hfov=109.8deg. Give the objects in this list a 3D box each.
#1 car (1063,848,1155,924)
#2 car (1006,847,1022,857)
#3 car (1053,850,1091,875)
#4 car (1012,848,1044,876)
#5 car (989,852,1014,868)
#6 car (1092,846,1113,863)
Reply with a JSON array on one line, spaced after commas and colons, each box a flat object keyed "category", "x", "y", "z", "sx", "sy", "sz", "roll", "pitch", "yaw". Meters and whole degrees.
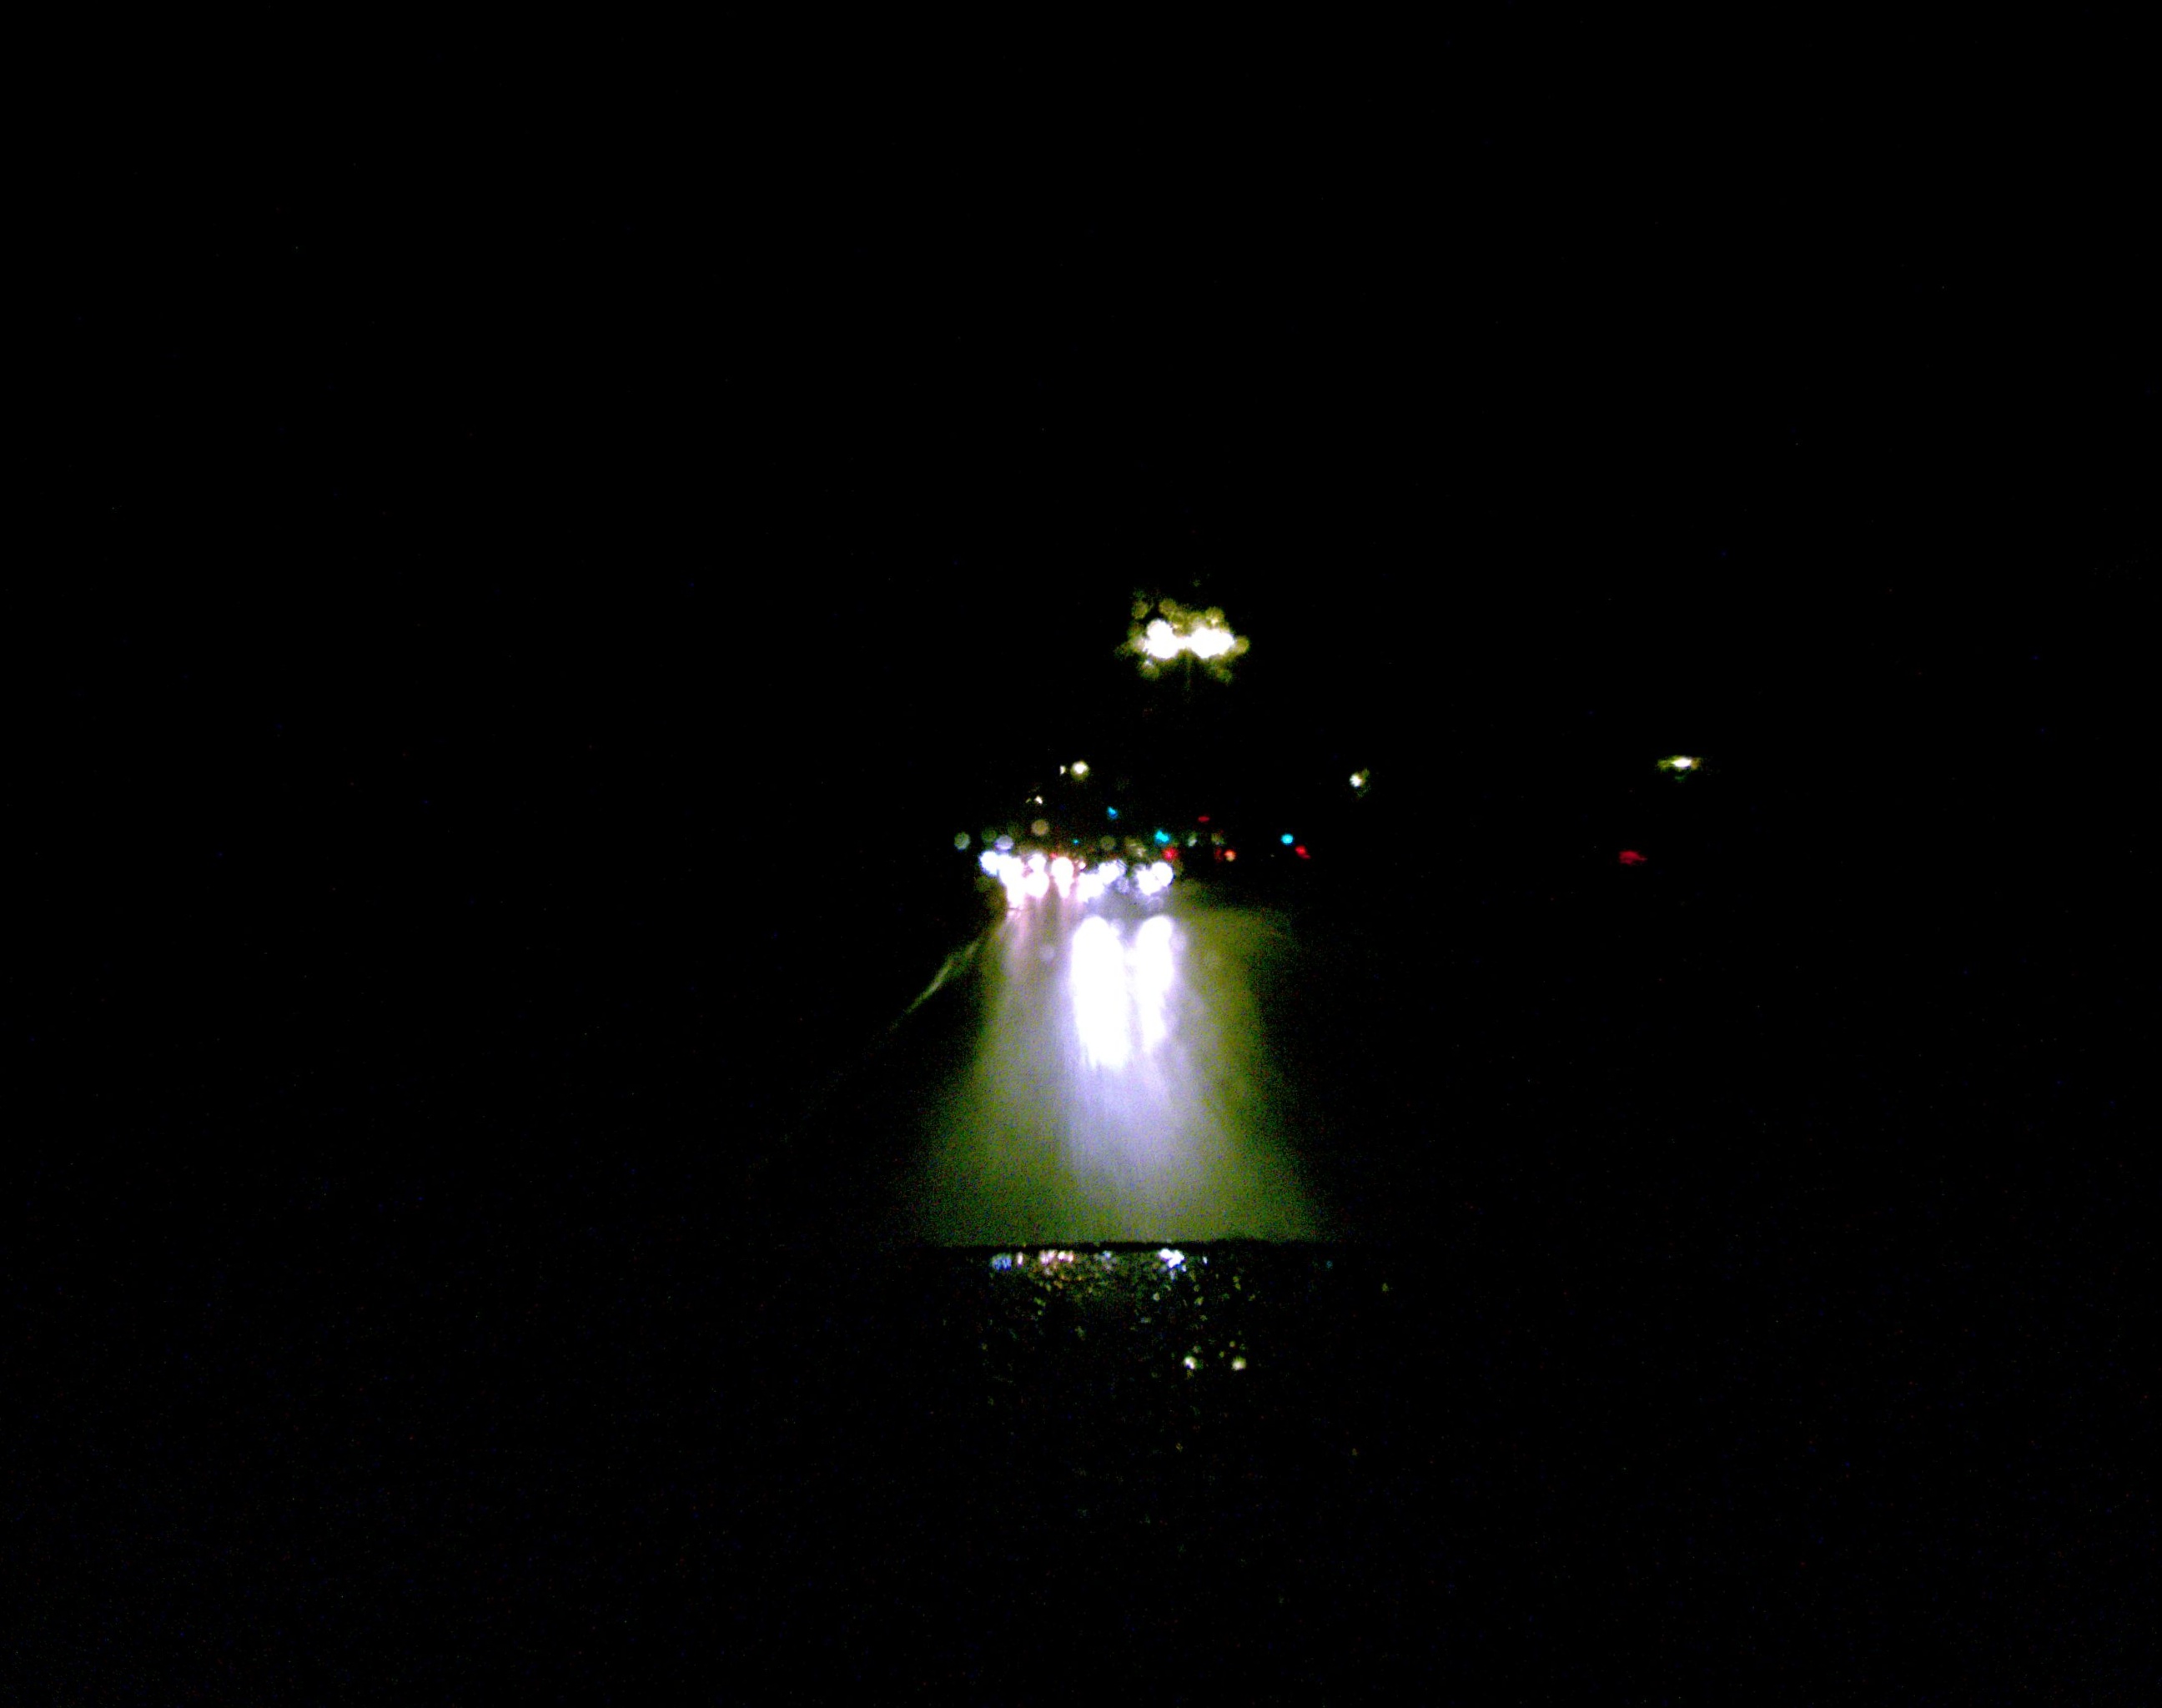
[{"category": "car", "x": 0.621, "y": 0.747, "z": 20.962, "sx": 1.915, "sy": 1.694, "sz": 4.935, "roll": -2, "pitch": 2, "yaw": -5}, {"category": "car", "x": -11.570, "y": -0.330, "z": 131.256, "sx": 1.705, "sy": 1.562, "sz": 4.704, "roll": -2, "pitch": 1, "yaw": -17}, {"category": "car", "x": -0.636, "y": 0.540, "z": 51.535, "sx": 2.000, "sy": 1.456, "sz": 3.995, "roll": -2, "pitch": 2, "yaw": -9}, {"category": "car", "x": -3.804, "y": 0.514, "z": 54.176, "sx": 1.879, "sy": 1.825, "sz": 4.201, "roll": -2, "pitch": 1, "yaw": -8}, {"category": "car", "x": -8.094, "y": 0.617, "z": 77.228, "sx": 2.001, "sy": 1.456, "sz": 3.994, "roll": -2, "pitch": 2, "yaw": -13}, {"category": "car", "x": 2.333, "y": 0.017, "z": 84.018, "sx": 1.723, "sy": 1.694, "sz": 4.139, "roll": -2, "pitch": 2, "yaw": -6}]
